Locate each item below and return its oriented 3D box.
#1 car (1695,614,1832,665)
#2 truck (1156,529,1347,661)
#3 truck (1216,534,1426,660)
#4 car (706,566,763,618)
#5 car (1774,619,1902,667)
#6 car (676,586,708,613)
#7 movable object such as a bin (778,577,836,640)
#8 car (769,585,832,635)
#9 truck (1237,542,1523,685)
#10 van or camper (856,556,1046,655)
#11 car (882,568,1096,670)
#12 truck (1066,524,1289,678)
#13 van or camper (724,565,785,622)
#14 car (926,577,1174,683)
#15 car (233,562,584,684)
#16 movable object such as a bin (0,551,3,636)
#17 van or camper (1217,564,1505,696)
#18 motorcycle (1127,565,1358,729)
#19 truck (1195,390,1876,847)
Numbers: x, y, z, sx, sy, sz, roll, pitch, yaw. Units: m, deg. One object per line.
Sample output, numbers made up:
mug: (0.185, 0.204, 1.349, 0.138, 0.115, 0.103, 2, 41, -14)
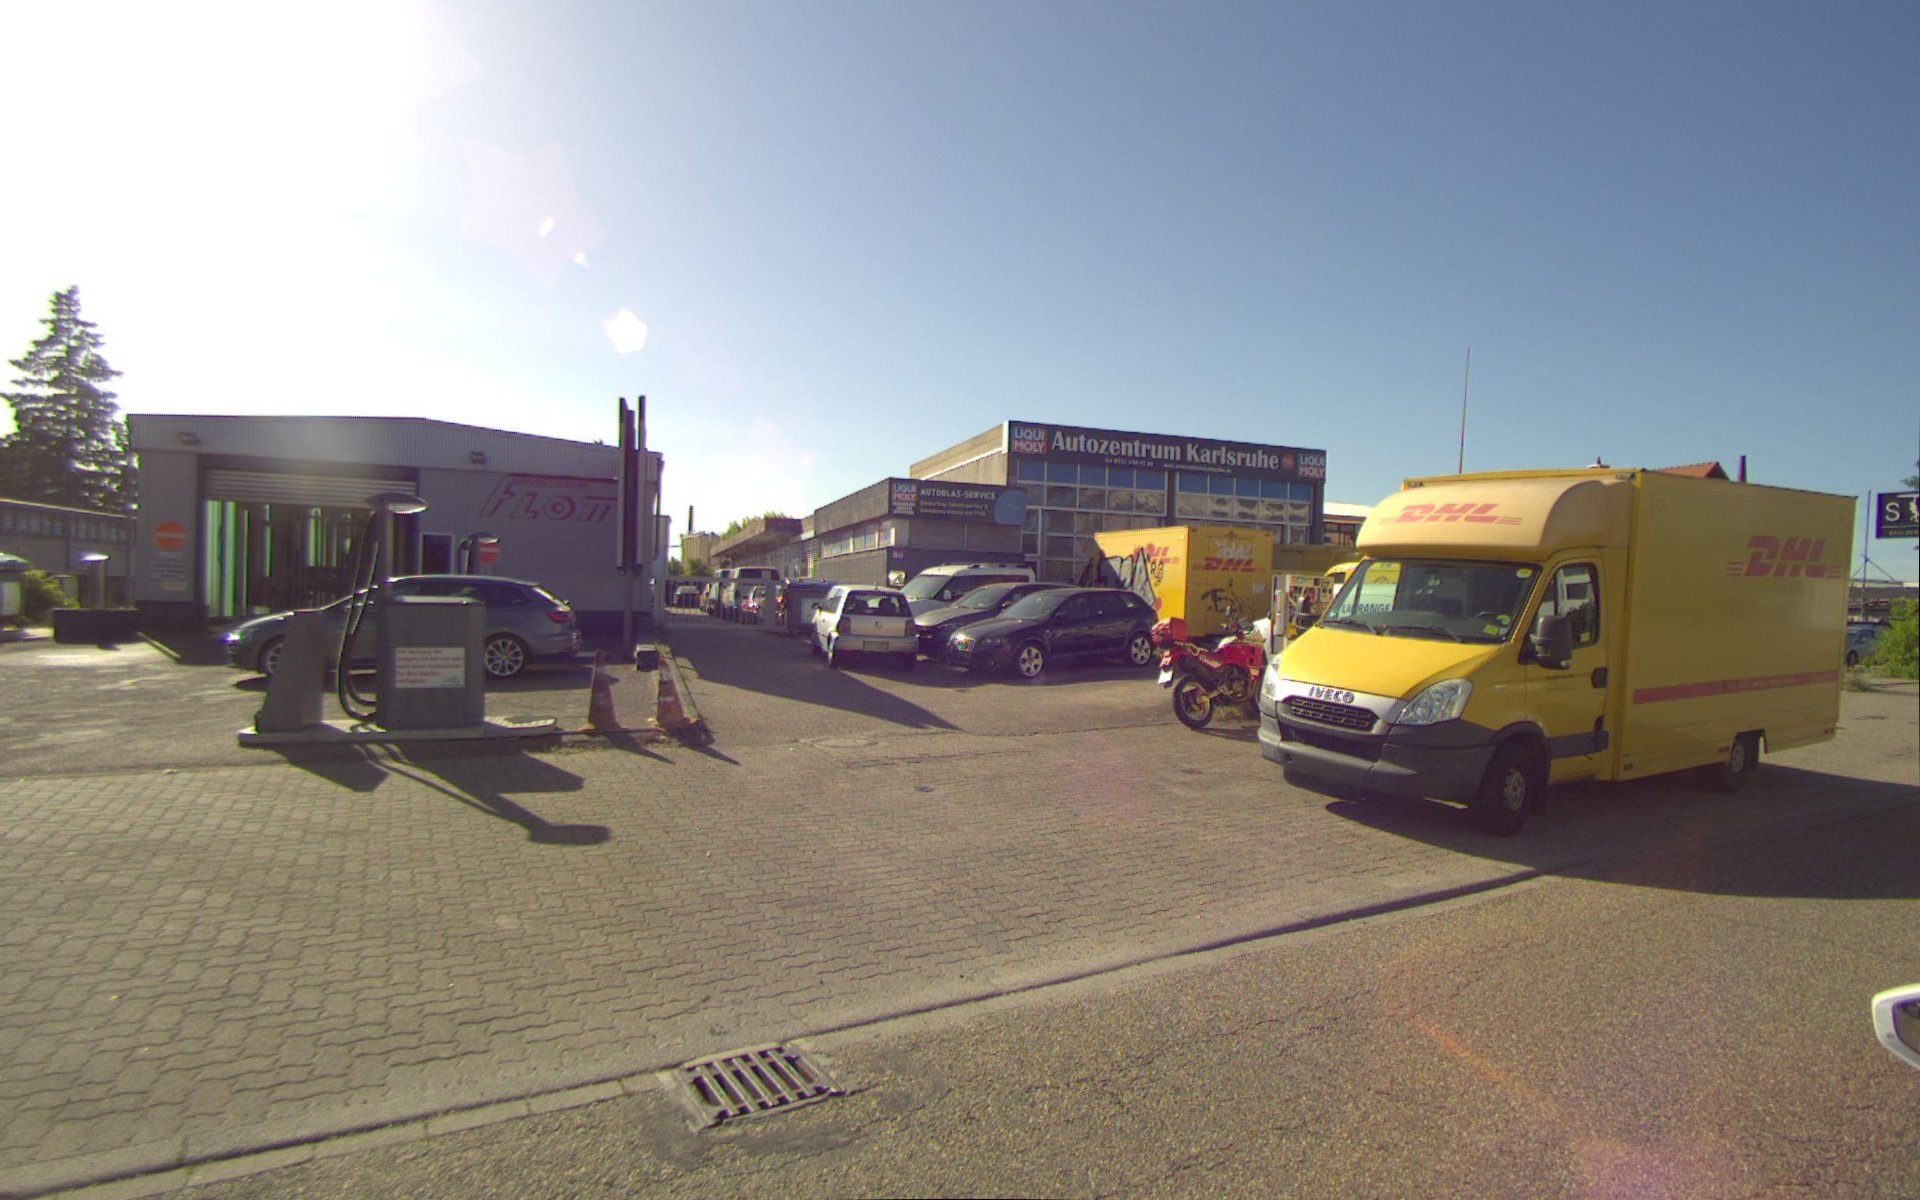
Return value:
car: (27.447, 1.343, 34.323, 3.979, 1.599, 1.693, 1, 0, -17)
truck: (7.341, -0.127, 26.021, 2.138, 3.012, 5.332, 2, 0, -17)
truck: (9.614, -0.087, 27.498, 2.138, 3.012, 6.088, 2, 0, -17)
car: (-9.779, -0.311, 43.343, 1.969, 2.040, 3.983, 2, -1, -18)
car: (32.295, 1.565, 36.961, 3.979, 1.599, 1.693, 2, 0, -17)
car: (-17.797, -0.027, 66.732, 1.967, 1.684, 3.987, 2, 0, -16)
movable object such as a bin: (-3.706, 0.198, 24.315, 1.281, 1.471, 0.537, 2, 0, -20)
car: (-4.458, 0.246, 27.829, 1.291, 1.296, 3.048, 2, 0, -17)
truck: (8.619, 0.168, 21.452, 2.189, 2.602, 5.915, 2, 2, -18)
van or camper: (-0.173, 0.138, 23.106, 3.962, 2.041, 1.847, 2, 3, -36)
car: (0.639, 0.383, 20.554, 3.965, 1.840, 1.978, 2, 2, -38)
truck: (4.889, -0.067, 23.753, 2.484, 3.161, 5.662, 2, 2, -19)
van or camper: (-7.639, -0.246, 37.115, 1.859, 1.973, 3.444, 2, 0, -17)
car: (1.660, 0.433, 18.010, 4.165, 1.584, 1.855, -3, 3, -32)
car: (-7.737, 0.295, 14.577, 4.235, 1.566, 1.772, 0, 1, -23)
movable object such as a bin: (-17.355, -0.130, 17.299, 1.032, 1.509, 0.728, 2, 0, -23)
van or camper: (6.965, 0.471, 18.037, 2.219, 2.040, 4.531, 2, 0, -23)
motorcycle: (3.621, 0.572, 12.765, 3.001, 1.898, 0.778, 1, 4, -27)
truck: (5.757, 0.179, 9.554, 7.165, 3.023, 2.389, 2, 2, -32)
